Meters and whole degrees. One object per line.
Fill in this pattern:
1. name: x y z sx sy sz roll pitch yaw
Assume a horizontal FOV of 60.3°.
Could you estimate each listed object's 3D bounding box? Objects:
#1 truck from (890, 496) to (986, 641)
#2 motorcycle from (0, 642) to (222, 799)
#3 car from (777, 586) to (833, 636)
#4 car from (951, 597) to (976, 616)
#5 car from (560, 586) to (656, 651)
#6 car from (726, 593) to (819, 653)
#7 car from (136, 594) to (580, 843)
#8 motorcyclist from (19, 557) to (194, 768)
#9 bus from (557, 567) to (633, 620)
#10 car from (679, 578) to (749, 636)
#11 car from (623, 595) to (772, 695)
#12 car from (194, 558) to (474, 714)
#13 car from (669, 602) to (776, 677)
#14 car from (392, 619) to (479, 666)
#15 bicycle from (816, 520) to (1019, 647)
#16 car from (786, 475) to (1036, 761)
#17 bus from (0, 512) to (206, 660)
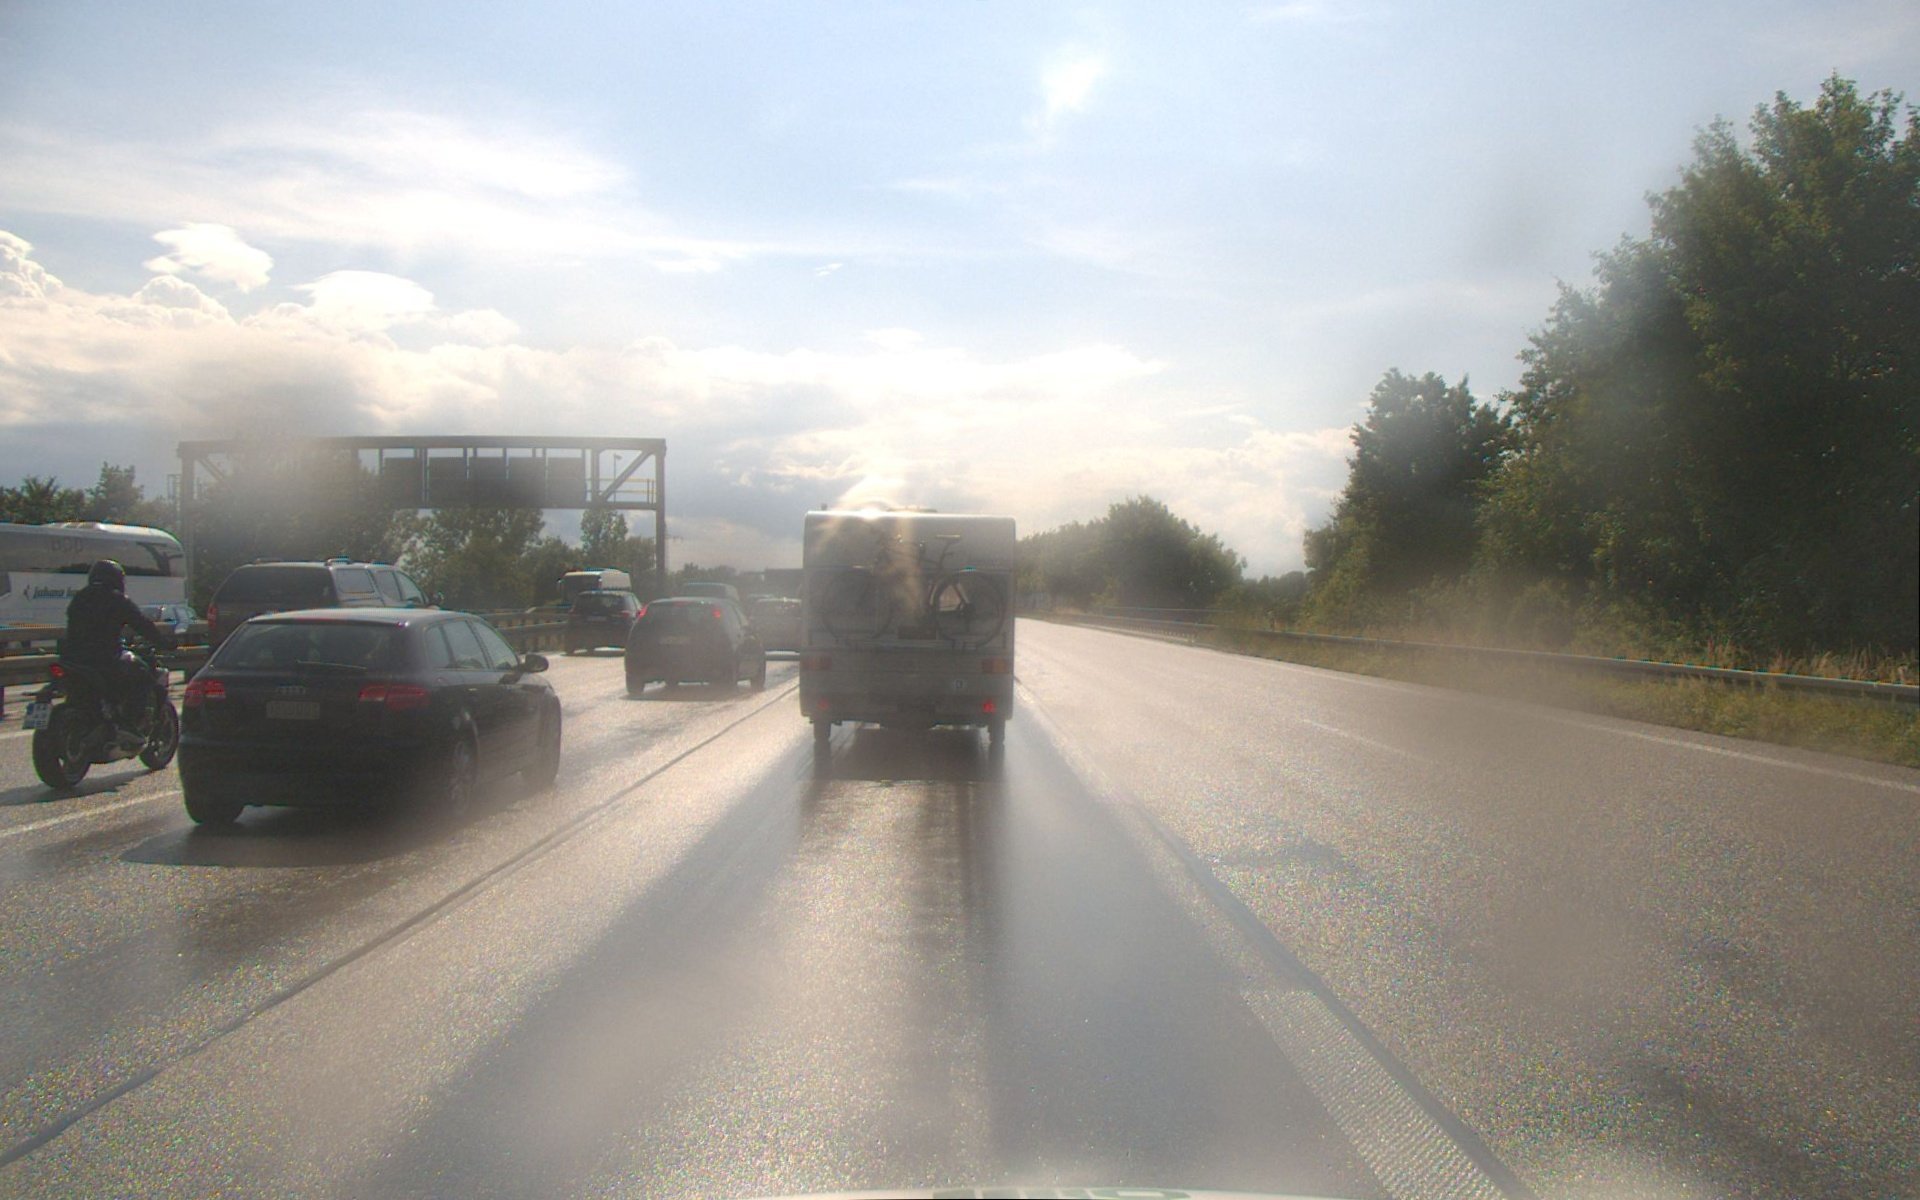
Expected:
1. truck: -0.851 -1.036 59.420 3.082 4.707 10.732 1 0 -2
2. motorcycle: -6.618 0.884 12.899 0.676 1.045 2.388 1 0 -1
3. car: -5.428 0.378 58.129 1.654 1.691 3.640 1 0 -1
4. car: 0.287 0.568 141.850 1.799 1.585 3.996 1 0 -4
5. car: -9.151 0.463 43.238 1.747 1.606 3.914 1 0 -2
6. car: -4.802 0.564 42.869 1.947 1.483 3.826 1 0 0
7. car: -4.034 0.699 11.839 1.714 1.458 4.053 1 0 -1
8. motorcyclist: -6.617 0.463 12.878 0.779 1.564 1.093 1 0 -1
9. bus: -24.373 -0.410 111.125 2.880 3.343 12.205 1 0 -3
10. car: -8.688 0.231 58.748 1.810 1.967 5.015 1 0 -1
11. car: -4.122 0.670 26.568 1.722 1.468 4.000 1 0 0
12. car: -8.422 0.429 22.852 1.769 1.876 5.418 1 0 0
13. car: -5.079 0.810 35.844 1.825 1.534 3.999 1 0 -2
14. car: -17.587 1.416 55.652 1.740 1.467 3.999 1 0 -2
15. bicycle: -0.396 -0.153 15.738 1.894 1.161 0.384 1 -1 1
16. car: -0.464 0.181 17.918 2.361 2.721 4.000 1 0 0
17. bus: -23.693 -0.346 42.693 2.832 3.433 12.468 1 0 -1
